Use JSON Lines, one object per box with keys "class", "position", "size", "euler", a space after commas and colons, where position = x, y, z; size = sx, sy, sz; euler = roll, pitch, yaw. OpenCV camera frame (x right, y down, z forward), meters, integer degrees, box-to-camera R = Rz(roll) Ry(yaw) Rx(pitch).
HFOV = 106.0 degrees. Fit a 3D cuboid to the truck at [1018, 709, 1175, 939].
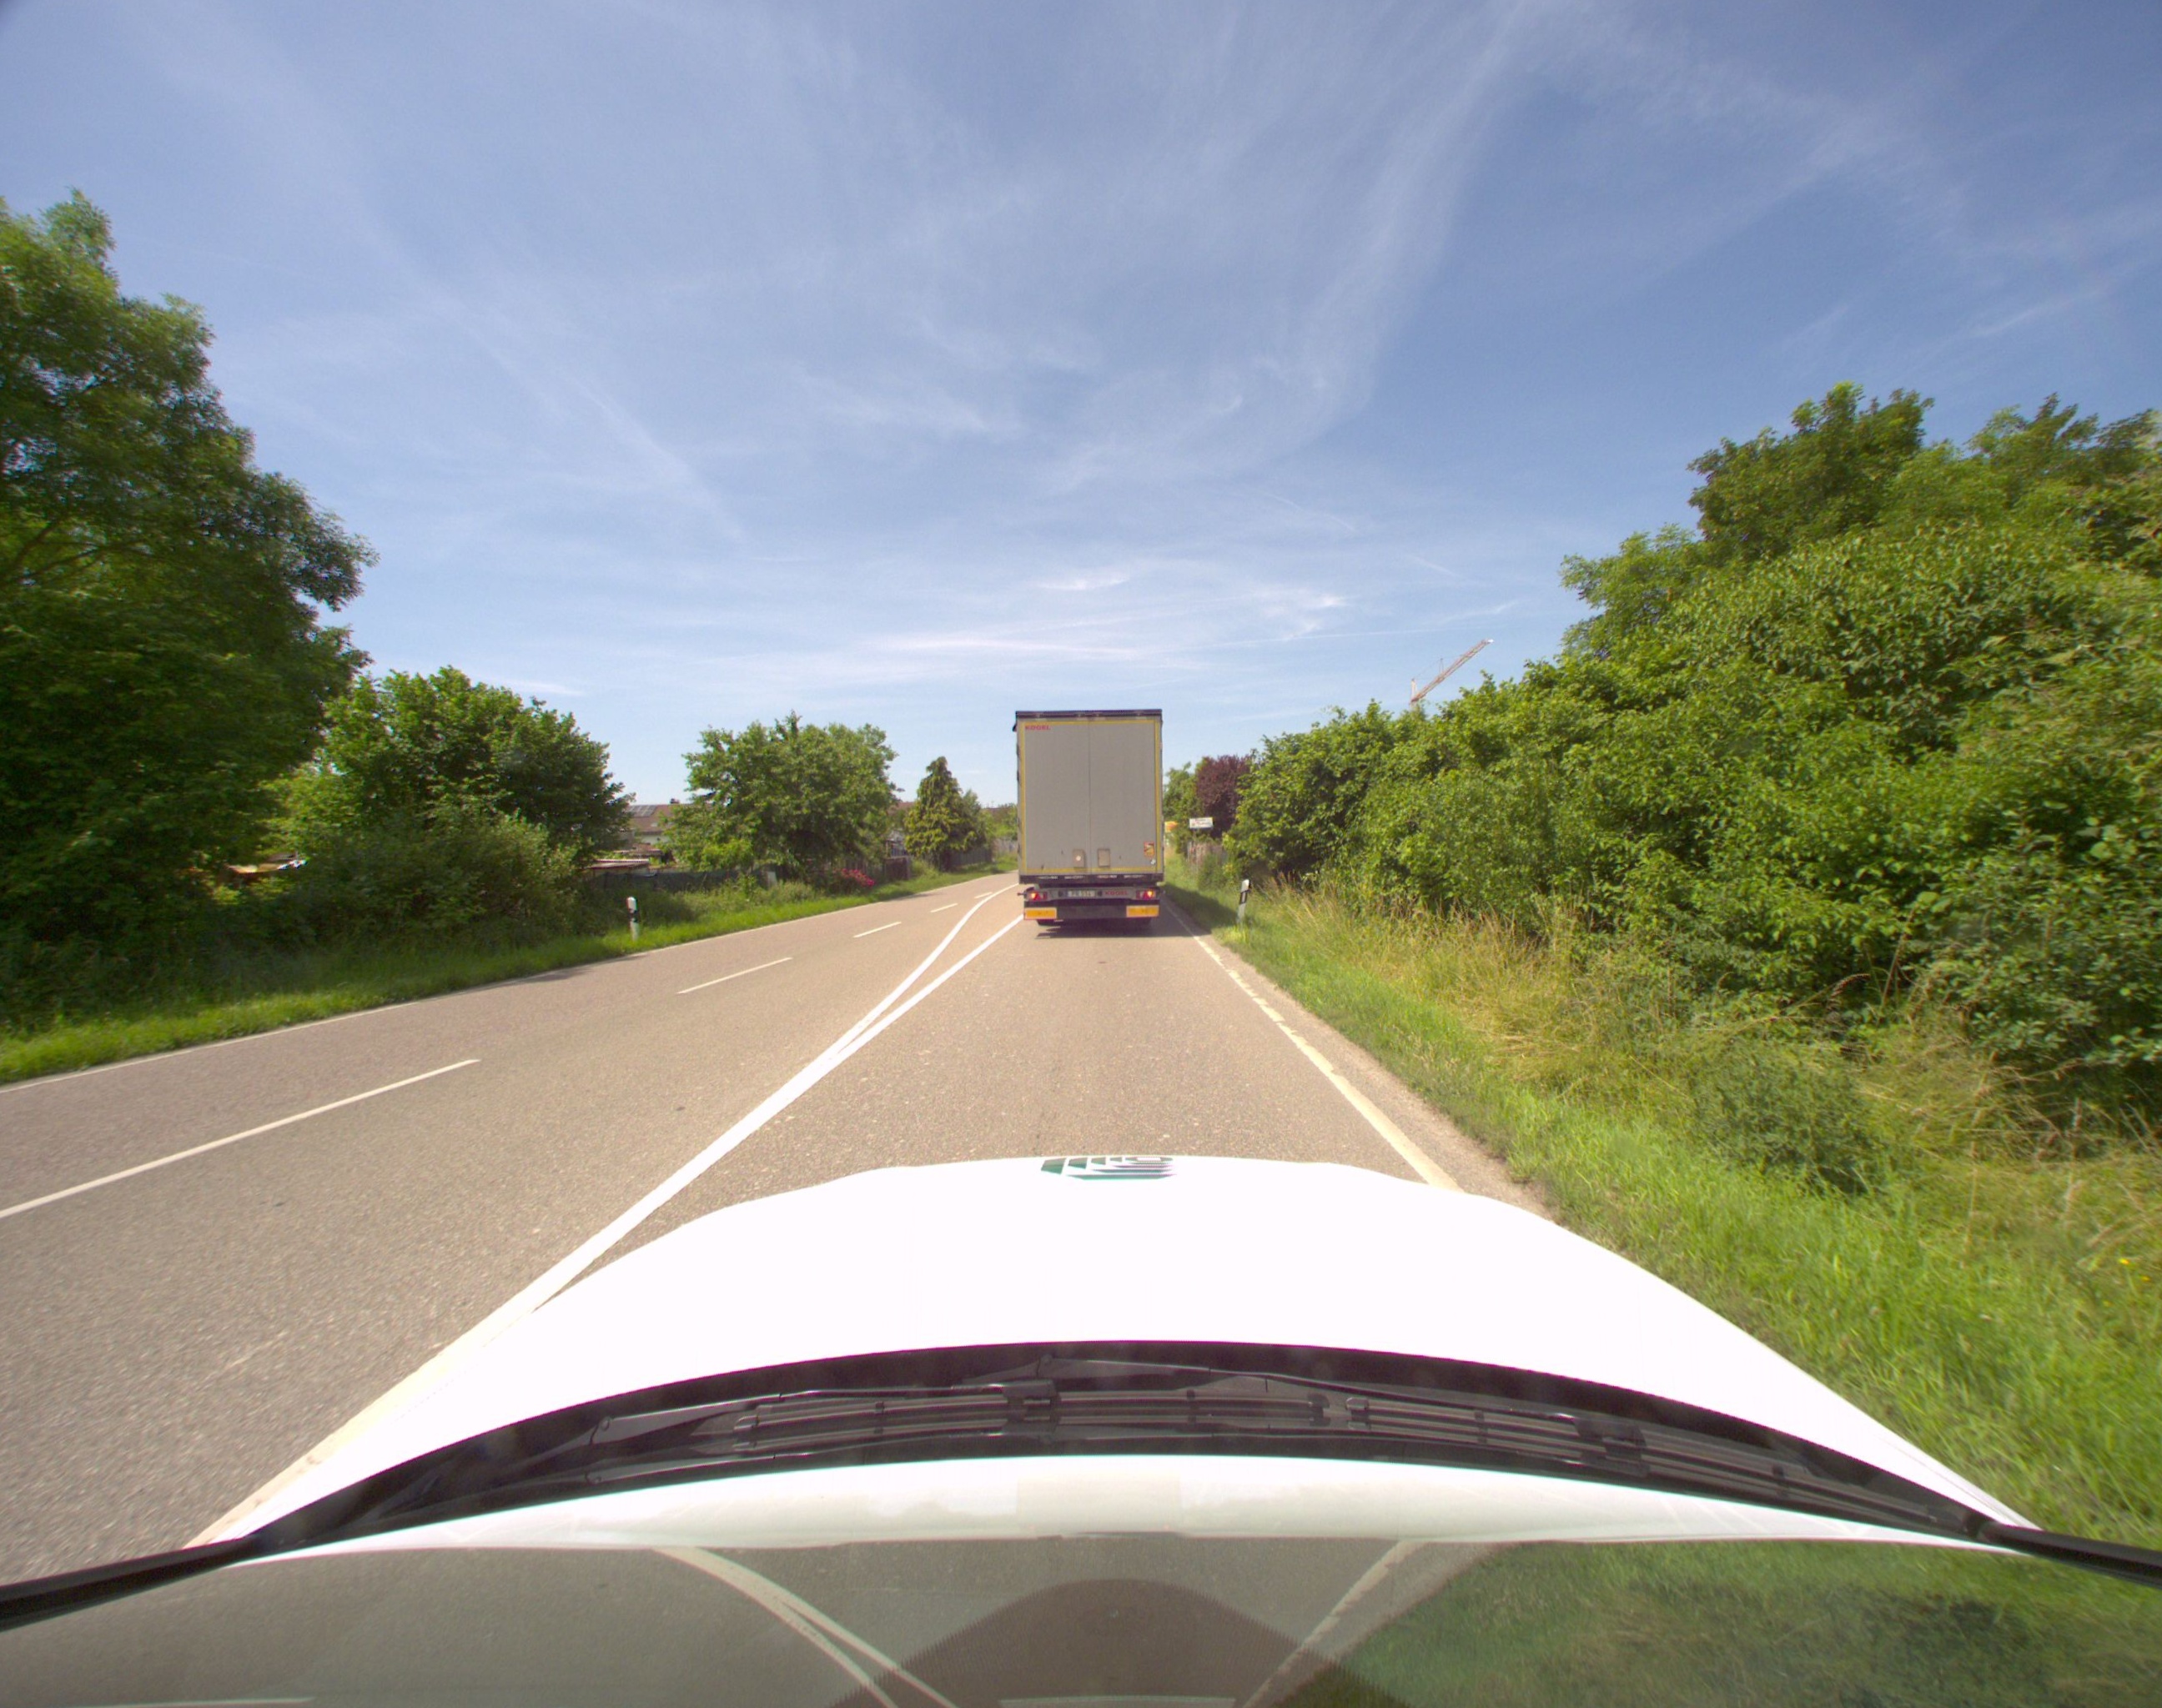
{"class": "truck", "position": [0.320, -0.561, 18.441], "size": [2.638, 3.917, 8.826], "euler": [-1, 0, 1]}
